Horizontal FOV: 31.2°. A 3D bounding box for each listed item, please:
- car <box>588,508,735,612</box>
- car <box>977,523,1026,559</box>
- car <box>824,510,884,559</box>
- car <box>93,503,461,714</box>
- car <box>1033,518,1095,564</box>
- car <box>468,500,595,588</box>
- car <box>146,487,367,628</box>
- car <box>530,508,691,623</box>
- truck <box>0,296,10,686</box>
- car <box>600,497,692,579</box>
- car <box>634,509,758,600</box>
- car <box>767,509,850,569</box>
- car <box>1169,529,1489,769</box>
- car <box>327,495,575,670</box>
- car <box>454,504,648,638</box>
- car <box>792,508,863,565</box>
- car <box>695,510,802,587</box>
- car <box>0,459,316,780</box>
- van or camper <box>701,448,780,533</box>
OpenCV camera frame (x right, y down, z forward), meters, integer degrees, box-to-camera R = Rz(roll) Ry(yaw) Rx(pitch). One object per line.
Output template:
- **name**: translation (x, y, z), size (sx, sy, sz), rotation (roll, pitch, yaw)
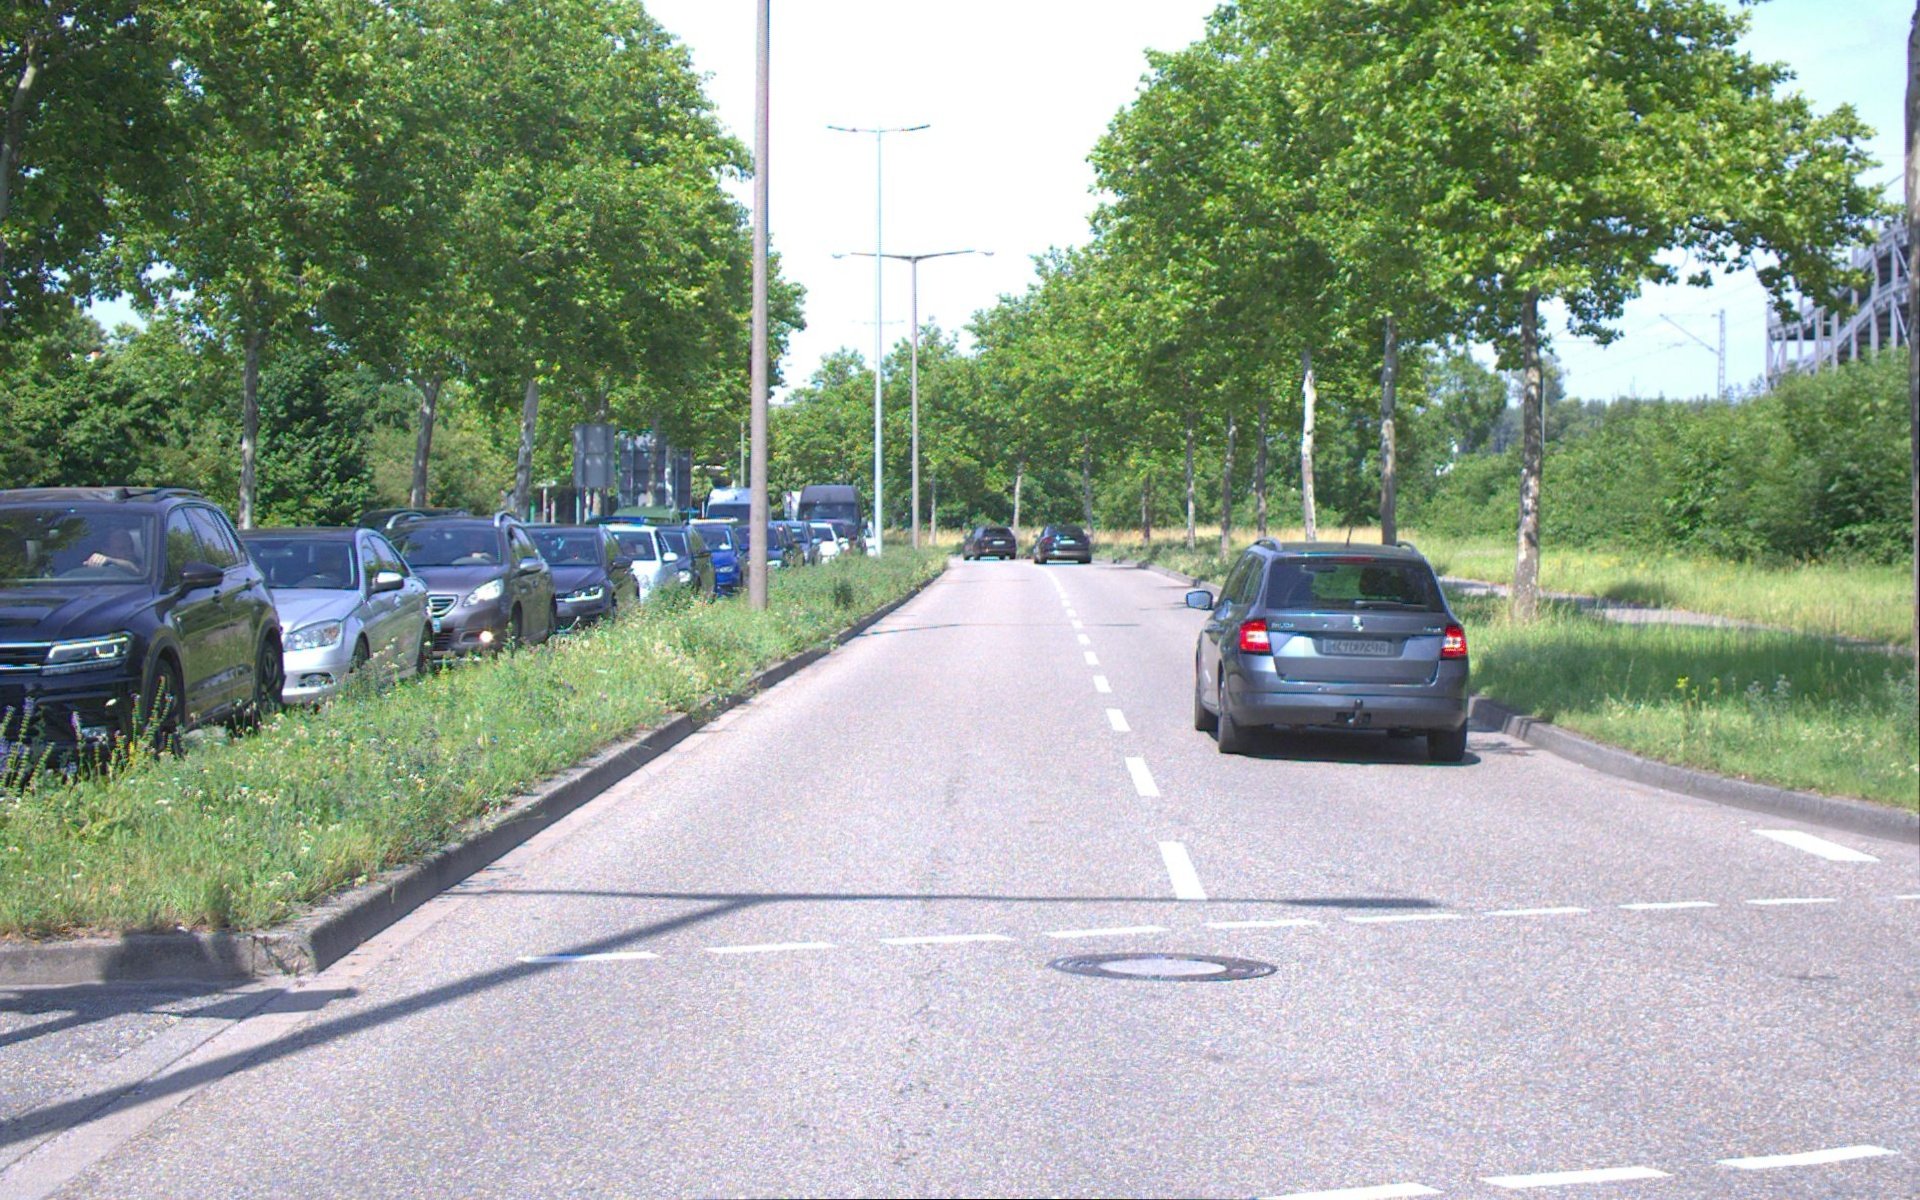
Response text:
- **car**: translation (-4.589, -0.654, 53.486), size (1.758, 1.524, 4.828), rotation (0, 2, 1)
- **car**: translation (1.784, -2.580, 150.071), size (1.908, 1.458, 4.583), rotation (1, 2, -2)
- **car**: translation (-3.358, -2.084, 109.456), size (1.689, 1.525, 3.814), rotation (0, 1, 1)
- **car**: translation (-5.103, -0.004, 26.295), size (1.797, 1.463, 4.523), rotation (0, 2, 1)
- **car**: translation (3.675, -2.115, 122.070), size (1.908, 1.458, 4.622), rotation (1, 2, -2)
- **car**: translation (-7.628, -1.028, 61.469), size (1.689, 1.524, 3.939), rotation (0, 2, 1)
- **car**: translation (-8.096, -0.525, 39.876), size (1.689, 1.524, 4.084), rotation (-1, 2, 0)
- **car**: translation (-4.646, -0.490, 46.149), size (1.689, 1.466, 3.815), rotation (0, 2, 1)
- **truck**: translation (-8.598, -0.964, 22.365), size (2.804, 3.459, 6.692), rotation (-1, 2, 1)
- **car**: translation (-7.297, -1.446, 80.079), size (1.689, 1.852, 4.036), rotation (0, 1, 1)
- **car**: translation (-4.483, -0.801, 58.842), size (1.784, 1.484, 4.212), rotation (0, 2, 0)
- **car**: translation (-3.780, -1.543, 86.365), size (1.784, 1.454, 4.472), rotation (0, 2, 1)
- **car**: translation (2.502, 0.276, 24.178), size (1.674, 1.448, 4.036), rotation (2, 2, -1)
- **car**: translation (-4.856, -0.220, 33.330), size (1.689, 1.581, 4.240), rotation (0, 2, 1)
- **car**: translation (-4.771, -0.382, 40.618), size (1.689, 1.468, 4.218), rotation (-1, 2, 1)
- **car**: translation (-3.544, -1.732, 92.794), size (1.689, 1.505, 3.815), rotation (0, 2, 1)
- **car**: translation (-4.131, -1.039, 67.702), size (1.823, 1.460, 4.451), rotation (0, 2, 0)
- **car**: translation (-5.128, 0.079, 19.910), size (1.820, 1.641, 4.694), rotation (0, 1, 1)
- **van or camper**: translation (-6.841, -3.402, 107.536), size (2.015, 2.579, 5.517), rotation (0, 2, 1)
